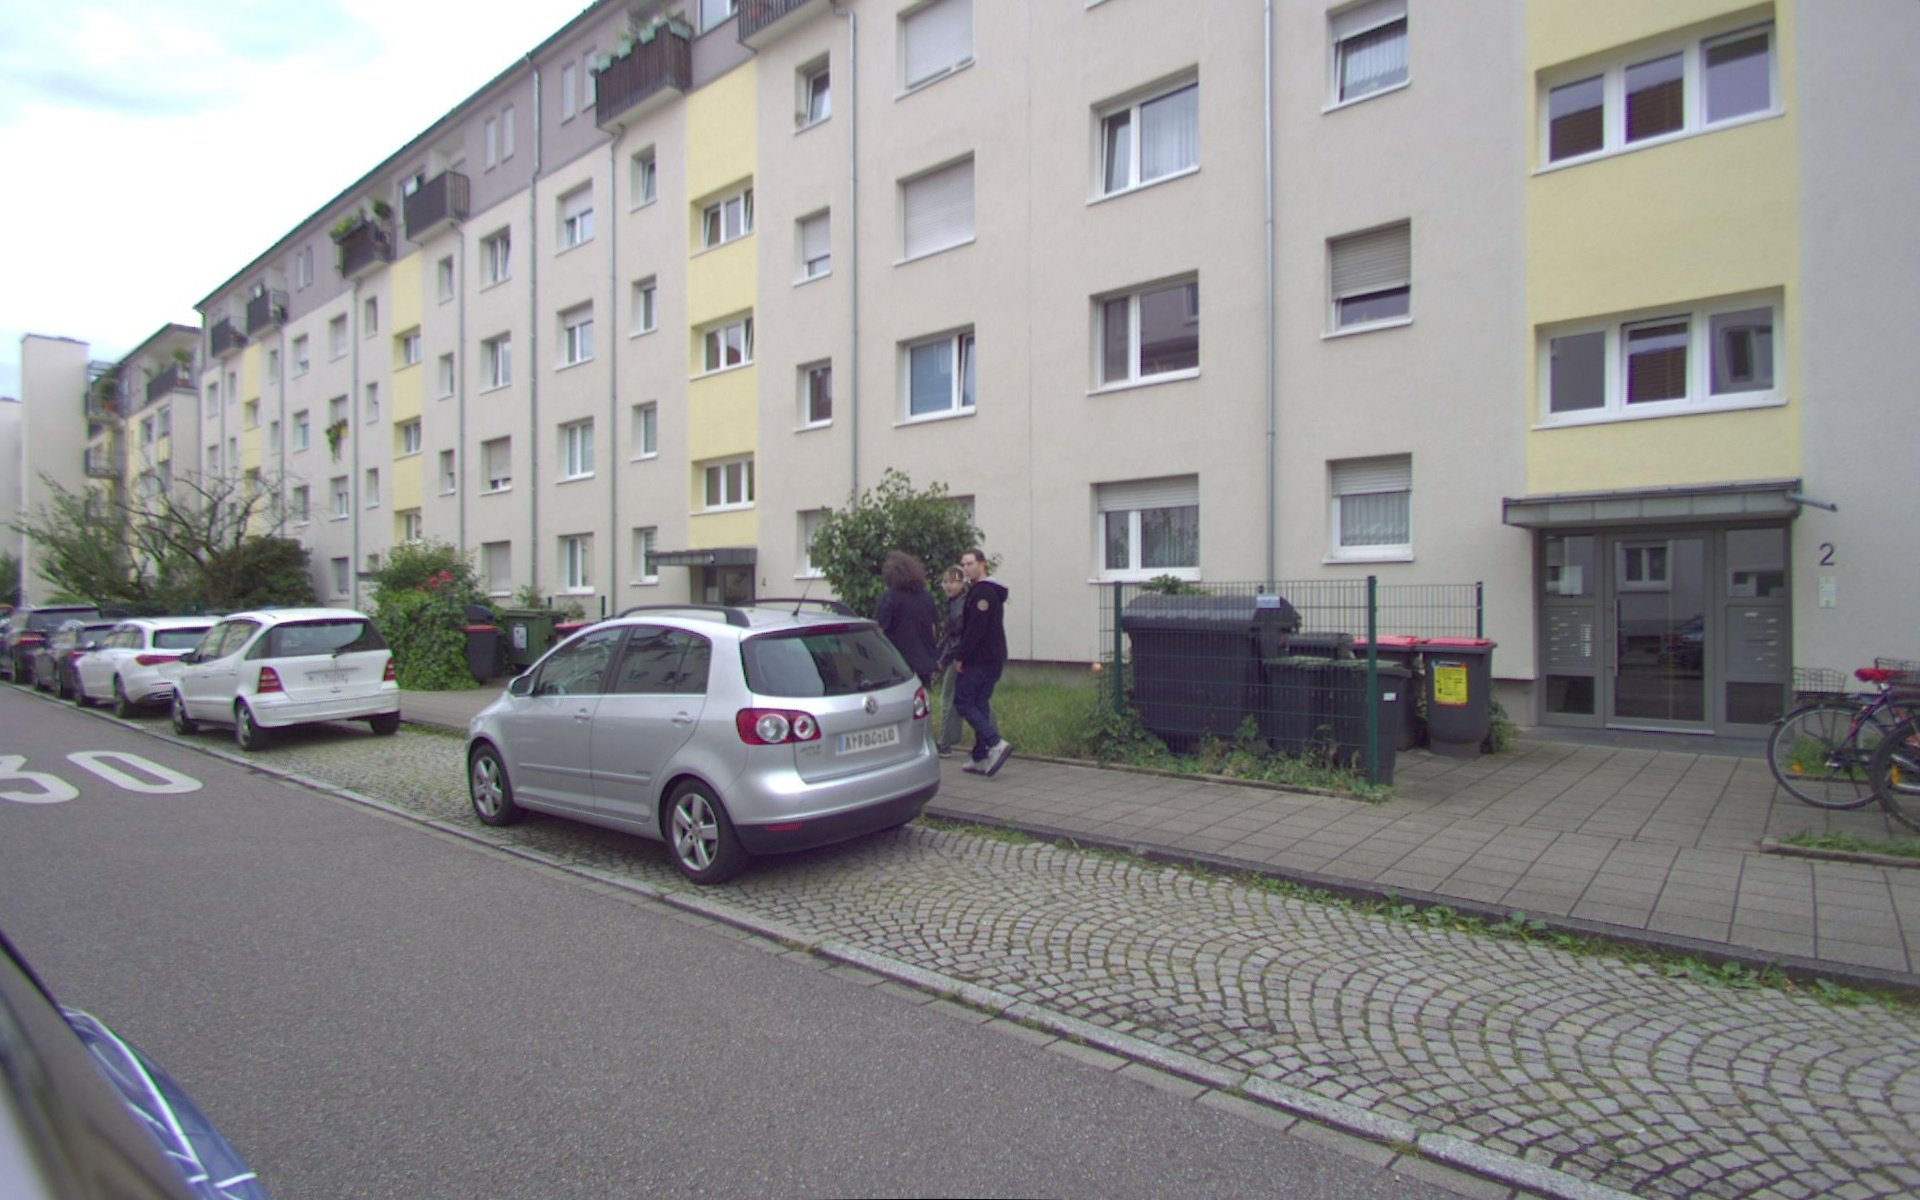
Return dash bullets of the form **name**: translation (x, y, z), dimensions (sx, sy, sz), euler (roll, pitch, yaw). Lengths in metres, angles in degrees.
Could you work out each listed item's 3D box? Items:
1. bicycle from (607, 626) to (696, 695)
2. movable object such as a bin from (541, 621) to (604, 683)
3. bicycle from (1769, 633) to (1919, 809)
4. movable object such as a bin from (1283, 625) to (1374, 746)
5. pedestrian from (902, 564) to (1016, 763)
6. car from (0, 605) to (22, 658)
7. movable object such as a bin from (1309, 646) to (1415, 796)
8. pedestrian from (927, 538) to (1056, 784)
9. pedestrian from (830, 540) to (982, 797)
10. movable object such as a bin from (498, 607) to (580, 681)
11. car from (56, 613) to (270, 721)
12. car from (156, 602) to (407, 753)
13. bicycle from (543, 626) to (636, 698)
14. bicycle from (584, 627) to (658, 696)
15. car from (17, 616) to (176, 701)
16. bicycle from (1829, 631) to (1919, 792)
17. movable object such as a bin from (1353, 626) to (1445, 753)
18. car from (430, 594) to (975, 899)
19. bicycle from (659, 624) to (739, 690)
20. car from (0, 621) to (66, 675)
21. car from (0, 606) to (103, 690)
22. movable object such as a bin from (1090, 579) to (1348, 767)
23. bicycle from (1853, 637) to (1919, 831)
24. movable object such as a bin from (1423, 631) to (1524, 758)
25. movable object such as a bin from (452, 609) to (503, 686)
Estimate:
- **bicycle**: translation (-4.911, 0.931, 16.073), dimensions (1.753, 1.032, 0.473), euler (-1, -1, 40)
- **movable object such as a bin**: translation (-7.468, 0.985, 19.516), dimensions (0.786, 1.117, 0.861), euler (1, 1, 36)
- **bicycle**: translation (6.426, 0.749, 6.259), dimensions (2.174, 1.079, 0.651), euler (-2, -1, 42)
- **movable object such as a bin**: translation (3.647, 0.814, 9.996), dimensions (0.597, 1.125, 0.834), euler (-2, -1, 38)
- **pedestrian**: translation (-0.012, 0.539, 9.006), dimensions (0.802, 1.669, 0.608), euler (-1, -1, 40)
- **car**: translation (-34.392, 1.105, 35.469), dimensions (3.537, 1.820, 1.686), euler (-2, -1, 38)
- **movable object such as a bin**: translation (3.021, 0.878, 7.601), dimensions (0.597, 1.041, 0.531), euler (-2, -1, 39)
- **pedestrian**: translation (0.254, 0.470, 8.207), dimensions (0.763, 1.868, 0.699), euler (-1, -1, 40)
- **pedestrian**: translation (-0.433, 0.501, 7.969), dimensions (0.973, 1.877, 0.633), euler (-1, 1, 41)
- **movable object such as a bin**: translation (-8.364, 0.848, 20.109), dimensions (1.187, 1.385, 1.047), euler (1, 1, 36)
- **car**: translation (-13.050, 1.007, 16.468), dimensions (4.681, 1.521, 1.702), euler (-2, -1, 38)
- **car**: translation (-8.722, 0.884, 12.918), dimensions (3.724, 1.651, 1.668), euler (-1, -1, 39)
- **bicycle**: translation (-5.673, 0.919, 15.457), dimensions (1.877, 1.032, 0.483), euler (-1, -1, 41)
- **bicycle**: translation (-5.290, 0.936, 15.752), dimensions (1.496, 1.032, 0.352), euler (-1, -1, 40)
- **car**: translation (-16.986, 1.059, 19.835), dimensions (4.480, 1.464, 1.707), euler (-1, -1, 41)
- **bicycle**: translation (7.184, 0.748, 6.674), dimensions (2.174, 1.079, 0.651), euler (-2, -1, 42)
- **movable object such as a bin**: translation (4.164, 0.817, 9.580), dimensions (0.597, 1.125, 0.834), euler (-2, -1, 38)
- **car**: translation (-1.947, 0.784, 7.063), dimensions (3.910, 1.562, 1.638), euler (-1, -1, 38)
- **bicycle**: translation (-4.329, 0.922, 16.728), dimensions (1.557, 1.032, 0.416), euler (-1, -1, 37)
- **car**: translation (-26.540, 1.321, 28.406), dimensions (3.537, 1.407, 1.556), euler (-2, -1, 38)
- **car**: translation (-21.590, 1.079, 23.723), dimensions (4.448, 1.793, 1.555), euler (-2, -1, 40)
- **movable object such as a bin**: translation (2.278, 0.571, 8.864), dimensions (1.670, 1.432, 1.573), euler (-2, -1, 40)
- **bicycle**: translation (6.229, 0.747, 5.428), dimensions (2.121, 1.076, 0.650), euler (-2, -1, 42)
- **movable object such as a bin**: translation (4.629, 0.819, 9.117), dimensions (0.633, 1.059, 0.855), euler (-2, -1, 39)
- **movable object such as a bin**: translation (-8.899, 0.865, 18.674), dimensions (0.587, 1.378, 0.651), euler (1, 1, 36)
